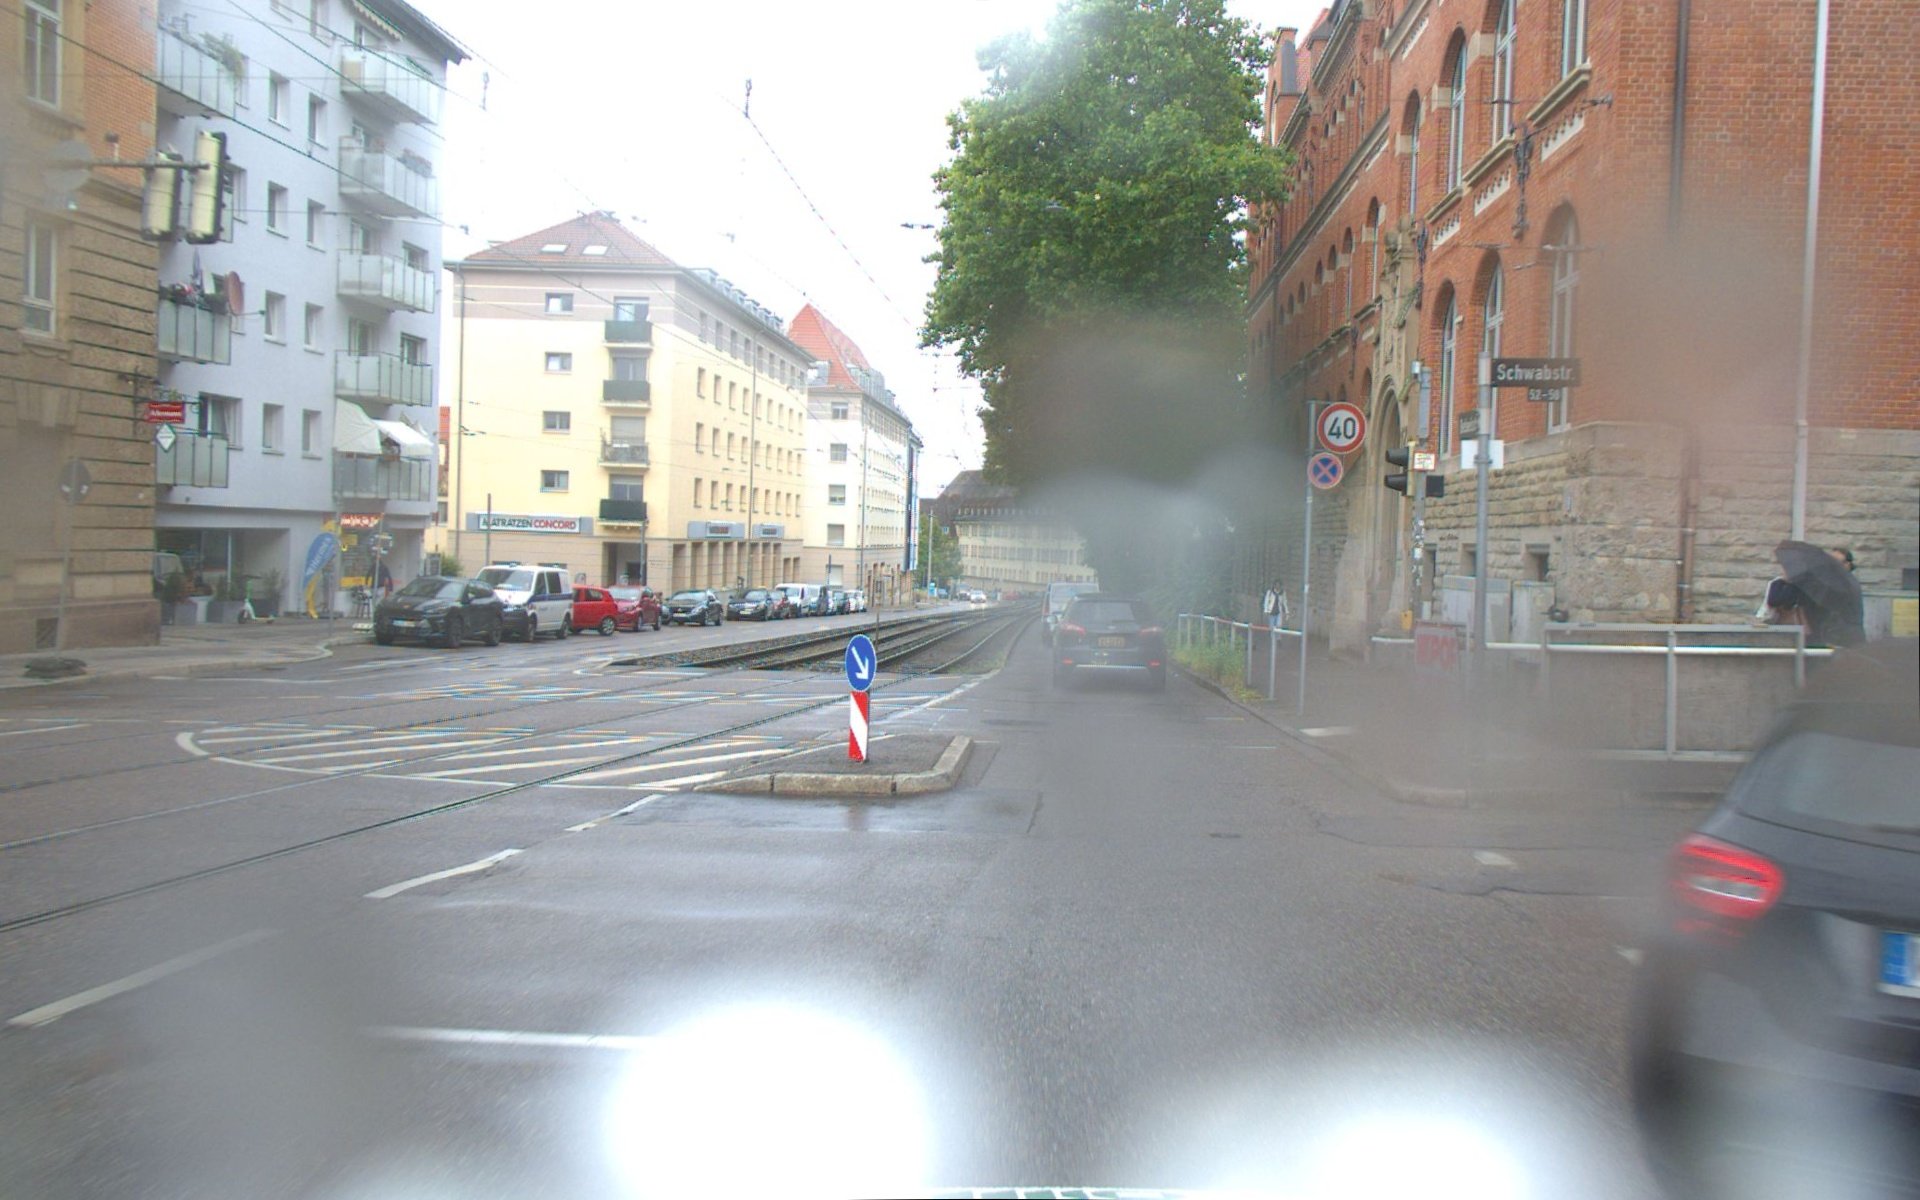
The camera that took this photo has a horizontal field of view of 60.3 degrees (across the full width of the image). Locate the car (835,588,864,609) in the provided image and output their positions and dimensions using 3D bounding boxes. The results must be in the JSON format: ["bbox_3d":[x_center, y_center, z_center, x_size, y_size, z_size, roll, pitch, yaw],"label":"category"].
[{"bbox_3d":[-7.573,-0.120,113.738,1.669,1.421,3.936,2,0,0],"label":"car"}]

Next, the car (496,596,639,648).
[{"bbox_3d":[-11.773,0.677,49.761,1.751,1.459,3.964,2,0,38],"label":"car"}]

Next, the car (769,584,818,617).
[{"bbox_3d":[-9.034,0.041,90.017,1.828,1.747,4.462,1,0,4],"label":"car"}]

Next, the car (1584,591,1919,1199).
[{"bbox_3d":[3.373,0.727,4.702,1.767,1.398,3.979,2,2,40],"label":"car"}]

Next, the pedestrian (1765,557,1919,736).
[{"bbox_3d":[8.449,0.430,15.899,0.938,1.654,1.074,0,0,4],"label":"pedestrian"}]

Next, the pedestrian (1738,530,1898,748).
[{"bbox_3d":[7.836,0.341,15.151,0.938,1.920,1.074,0,0,4],"label":"pedestrian"}]

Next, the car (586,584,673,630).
[{"bbox_3d":[-11.059,0.239,55.661,1.618,1.477,4.077,1,0,8],"label":"car"}]

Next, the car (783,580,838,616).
[{"bbox_3d":[-8.610,-0.125,95.913,1.951,1.938,5.464,3,0,7],"label":"car"}]

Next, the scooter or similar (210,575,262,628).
[{"bbox_3d":[-17.498,0.036,39.983,1.068,1.231,0.316,-2,0,-7],"label":"scooter or similar"}]

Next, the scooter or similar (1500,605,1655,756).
[{"bbox_3d":[5.445,0.685,14.575,1.222,1.272,0.637,0,0,26],"label":"scooter or similar"}]

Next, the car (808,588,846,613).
[{"bbox_3d":[-8.093,0.034,100.839,1.655,1.464,4.051,1,0,4],"label":"car"}]

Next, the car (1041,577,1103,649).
[{"bbox_3d":[3.306,0.370,49.454,1.704,2.049,3.905,1,0,2],"label":"car"}]

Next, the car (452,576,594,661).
[{"bbox_3d":[-11.783,0.451,44.998,2.027,2.044,5.304,4,1,4],"label":"car"}]

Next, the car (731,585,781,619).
[{"bbox_3d":[-9.636,0.079,78.351,1.814,1.534,4.990,1,0,-1],"label":"car"}]

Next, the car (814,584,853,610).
[{"bbox_3d":[-8.043,-0.200,105.402,1.775,1.525,4.585,2,1,4],"label":"car"}]

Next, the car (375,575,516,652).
[{"bbox_3d":[-12.014,0.295,38.916,1.696,1.680,4.365,2,0,3],"label":"car"}]

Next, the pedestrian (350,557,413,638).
[{"bbox_3d":[-14.516,-0.071,41.537,1.148,1.962,1.177,1,0,-4],"label":"pedestrian"}]

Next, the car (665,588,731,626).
[{"bbox_3d":[-10.224,0.265,64.908,1.644,1.420,4.624,1,0,3],"label":"car"}]

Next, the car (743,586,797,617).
[{"bbox_3d":[-9.592,0.077,83.922,1.812,1.457,4.834,2,0,4],"label":"car"}]

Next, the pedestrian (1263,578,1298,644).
[{"bbox_3d":[8.419,0.296,43.498,0.805,1.708,0.860,1,0,6],"label":"pedestrian"}]

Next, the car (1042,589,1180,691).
[{"bbox_3d":[2.389,0.602,27.143,1.893,1.478,4.318,2,0,1],"label":"car"}]

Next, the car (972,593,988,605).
[{"bbox_3d":[2.426,-0.089,204.469,1.676,1.488,4.283,0,0,5],"label":"car"}]
